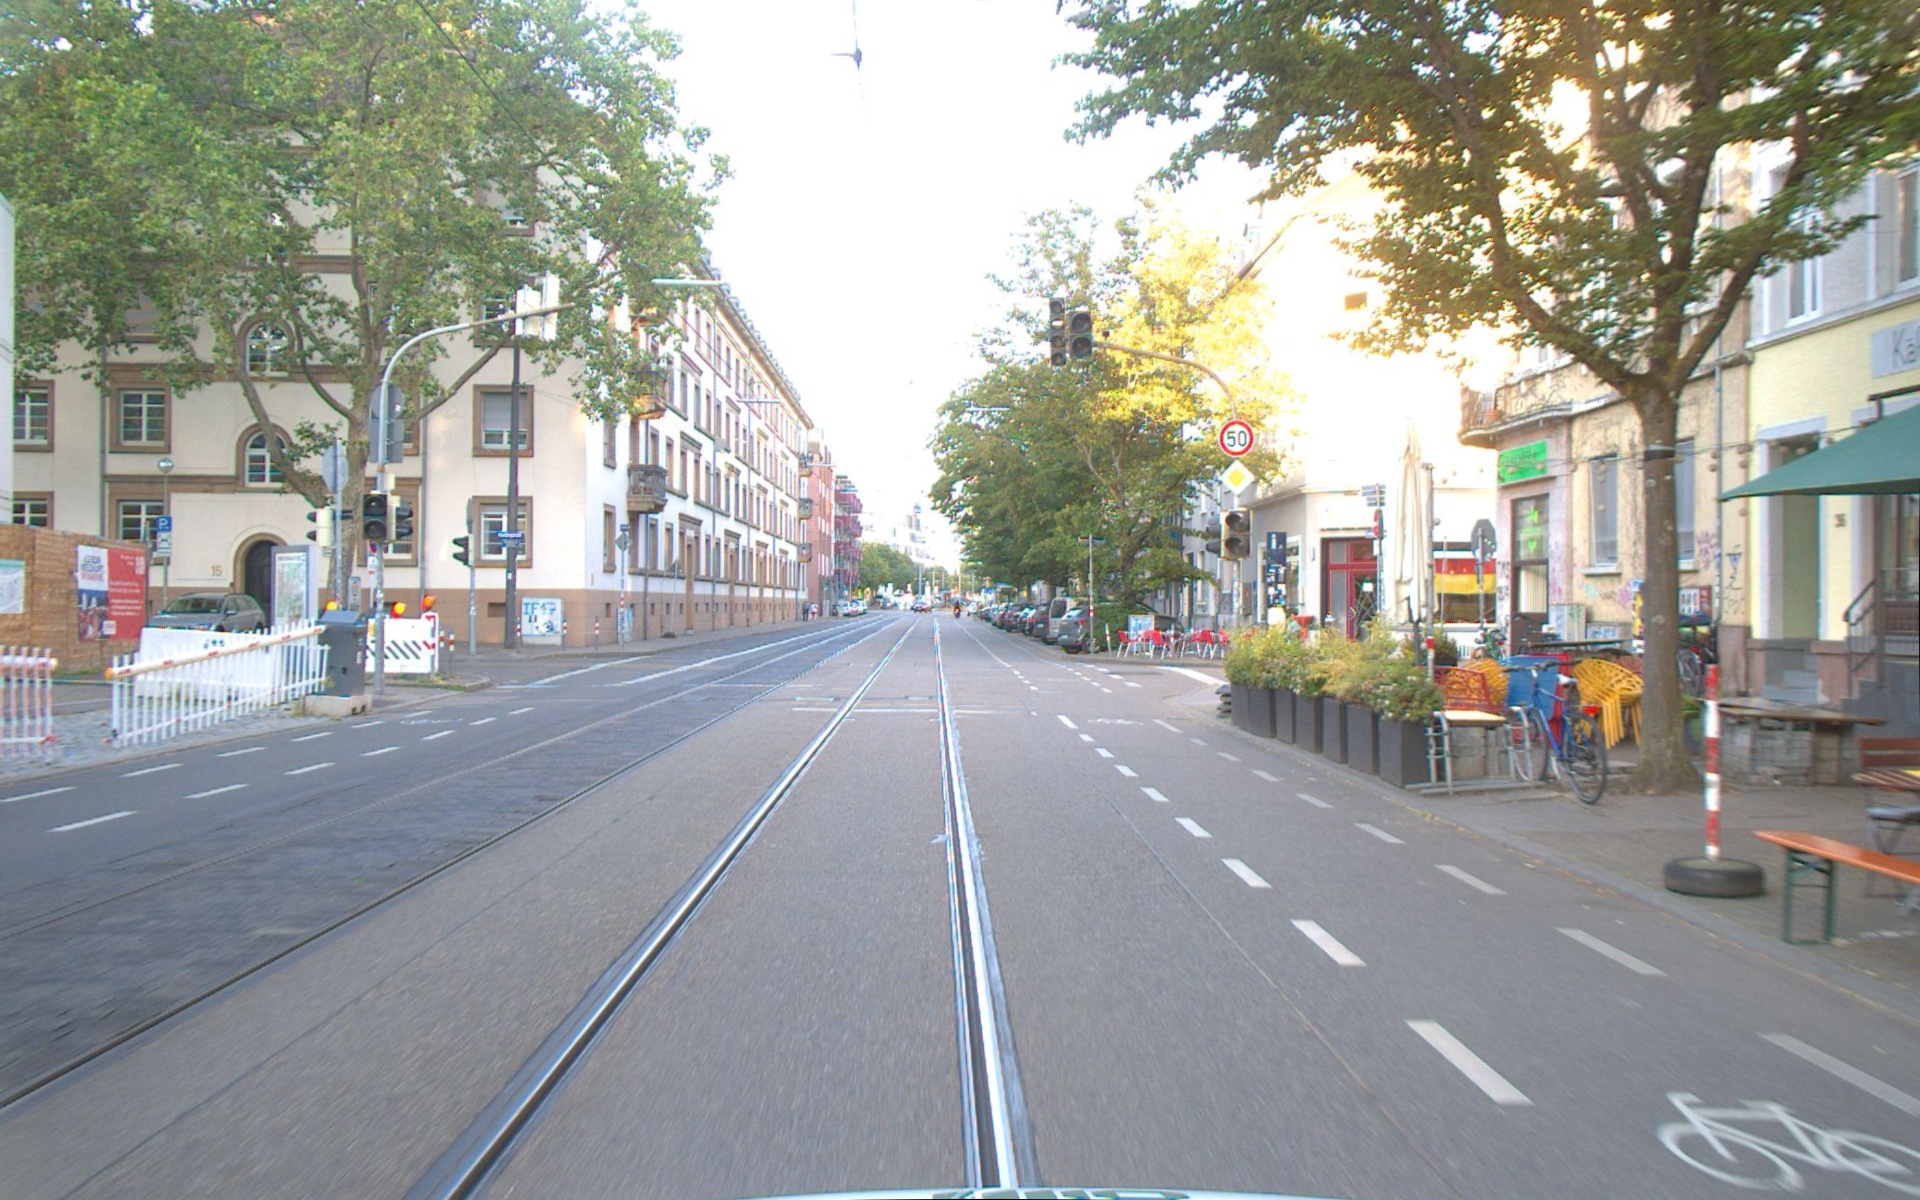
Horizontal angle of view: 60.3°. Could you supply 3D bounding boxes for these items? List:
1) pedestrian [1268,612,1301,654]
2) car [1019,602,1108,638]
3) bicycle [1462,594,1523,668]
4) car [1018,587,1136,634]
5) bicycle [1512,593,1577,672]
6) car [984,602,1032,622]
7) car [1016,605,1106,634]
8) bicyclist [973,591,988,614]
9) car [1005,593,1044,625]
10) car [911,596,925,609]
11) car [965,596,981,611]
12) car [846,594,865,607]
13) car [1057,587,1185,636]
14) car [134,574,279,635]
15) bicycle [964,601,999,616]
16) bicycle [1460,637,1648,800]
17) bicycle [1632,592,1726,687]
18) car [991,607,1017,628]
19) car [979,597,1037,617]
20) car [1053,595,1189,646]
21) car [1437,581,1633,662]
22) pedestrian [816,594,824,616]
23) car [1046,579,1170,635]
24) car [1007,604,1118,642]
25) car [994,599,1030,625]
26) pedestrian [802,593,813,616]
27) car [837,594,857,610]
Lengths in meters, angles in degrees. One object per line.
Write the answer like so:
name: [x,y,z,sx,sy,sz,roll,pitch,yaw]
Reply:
pedestrian: [9.153,0.928,46.696,0.641,1.175,0.686,1,0,-25]
car: [4.907,0.927,78.550,3.901,1.580,1.711,-1,1,-19]
bicycle: [9.217,0.525,28.661,0.513,1.231,1.585,1,0,-1]
car: [4.443,0.383,63.030,4.122,1.726,1.834,-1,0,-23]
bicycle: [9.417,0.512,26.682,0.460,1.231,1.585,1,0,-1]
car: [3.898,0.992,133.439,3.512,1.543,1.729,-1,0,-26]
car: [4.983,0.958,81.394,4.198,1.412,1.606,0,0,-27]
bicyclist: [1.853,0.220,151.499,1.192,2.049,0.945,-1,0,-9]
car: [3.504,0.503,90.784,1.842,1.646,4.261,-2,0,-2]
car: [-5.388,0.364,211.364,1.527,1.585,3.755,-1,0,2]
car: [1.478,0.381,187.904,1.681,1.583,4.204,1,0,0]
car: [-11.821,0.061,187.222,1.656,1.438,4.677,2,0,1]
car: [5.380,0.392,55.240,3.932,1.594,1.708,0,0,-23]
car: [-19.445,0.066,42.885,1.717,1.383,4.475,1,2,0]
bicycle: [1.942,0.796,151.516,3.112,1.378,0.955,0,-1,-10]
bicycle: [4.726,0.906,13.325,0.746,1.145,2.026,1,0,-1]
bicycle: [9.681,0.512,22.315,0.460,1.231,1.782,1,0,-1]
car: [2.978,1.192,113.667,1.586,1.405,3.775,-2,0,-1]
car: [4.006,0.575,138.549,4.386,1.543,2.048,-1,0,-24]
car: [5.070,0.631,52.148,3.929,1.567,1.769,0,0,-21]
car: [14.213,0.522,41.040,4.231,1.873,1.908,1,0,4]
pedestrian: [-10.536,0.401,124.218,0.579,1.638,0.811,0,-1,-3]
car: [5.193,0.233,57.969,3.932,1.847,1.812,-1,0,-23]
car: [4.291,0.943,69.398,4.310,1.489,1.711,-1,0,-19]
car: [3.135,0.722,99.760,1.953,1.515,5.035,-1,0,-1]
pedestrian: [-11.446,0.339,124.140,0.779,1.731,0.981,0,-1,-3]
car: [-11.397,0.220,167.442,1.682,1.583,4.203,2,0,0]
